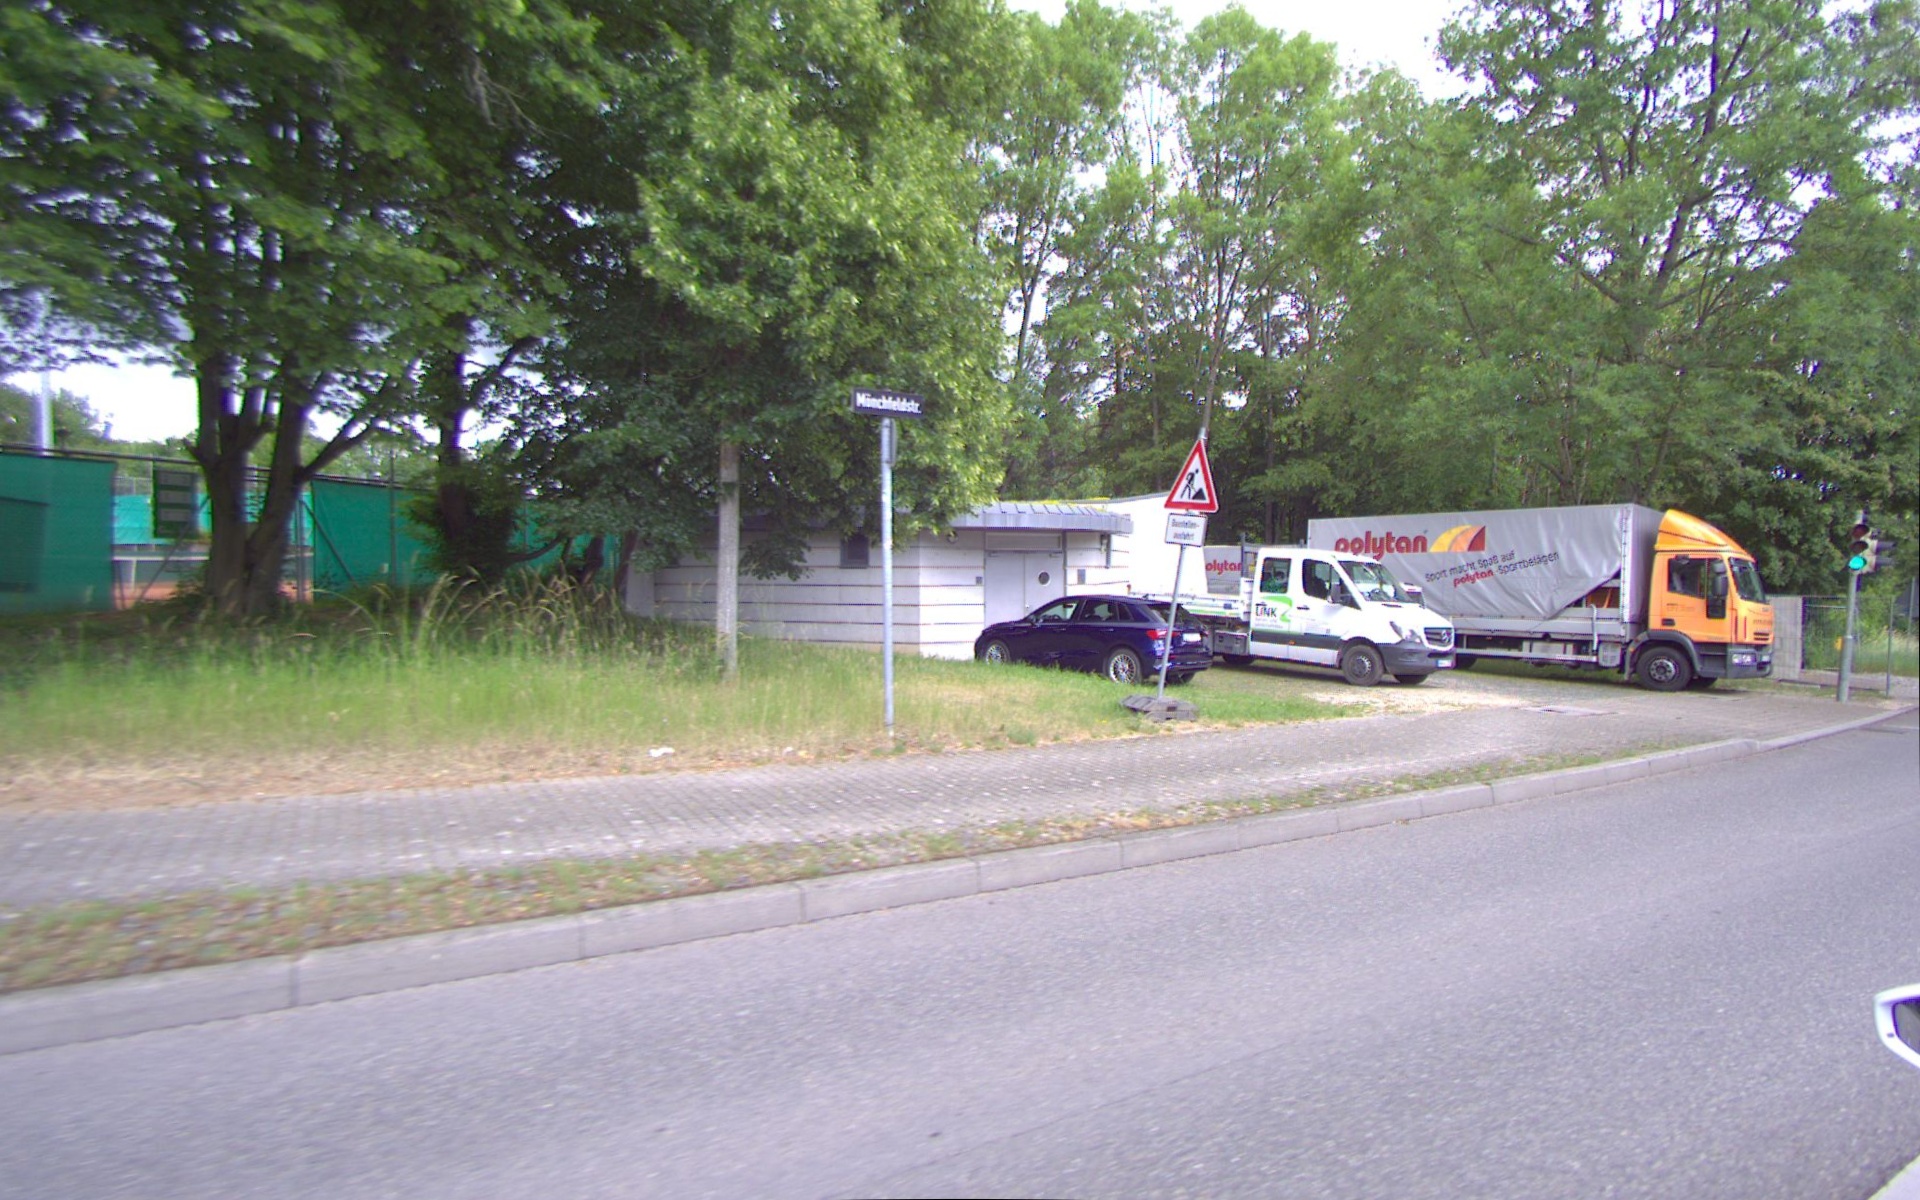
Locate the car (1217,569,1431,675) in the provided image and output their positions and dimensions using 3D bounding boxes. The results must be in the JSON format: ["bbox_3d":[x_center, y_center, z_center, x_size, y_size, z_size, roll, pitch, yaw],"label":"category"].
[{"bbox_3d":[7.775,0.393,21.753,1.767,1.935,3.953,0,3,-40],"label":"car"}]

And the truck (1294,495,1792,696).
[{"bbox_3d":[12.208,-0.200,22.241,2.543,3.578,9.158,2,1,-38],"label":"truck"}]

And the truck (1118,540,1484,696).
[{"bbox_3d":[6.188,0.178,19.172,2.107,2.448,6.330,2,2,-40],"label":"truck"}]

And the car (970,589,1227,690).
[{"bbox_3d":[2.203,0.612,16.673,3.945,1.344,1.707,3,-1,44],"label":"car"}]

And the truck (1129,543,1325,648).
[{"bbox_3d":[8.831,-0.220,33.447,5.816,3.243,2.446,1,2,35],"label":"truck"}]
